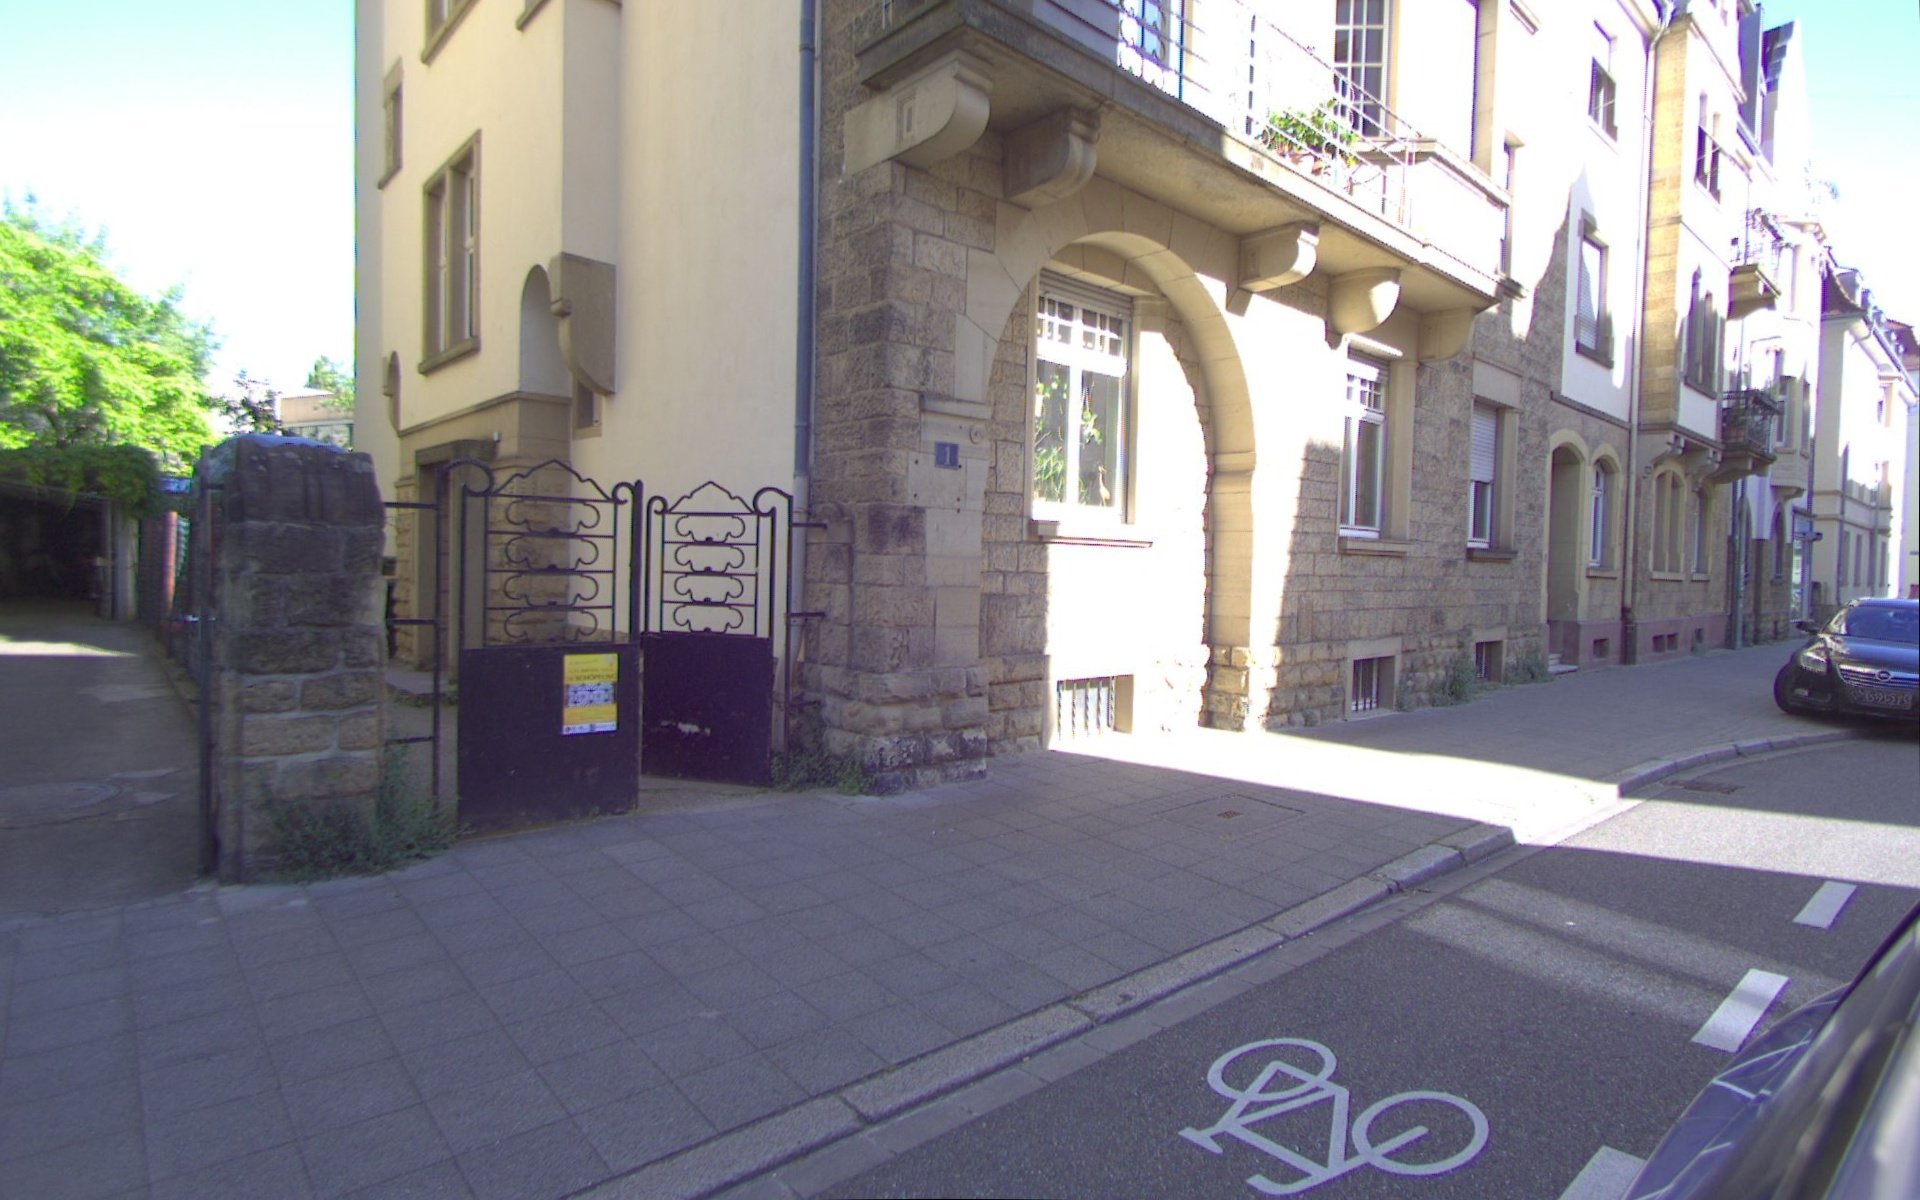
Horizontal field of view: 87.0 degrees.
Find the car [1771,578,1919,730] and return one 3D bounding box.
[{"bbox_3d":[11.508,0.571,12.191,4.043,1.526,2.023,-1,5,-42],"label":"car"}]

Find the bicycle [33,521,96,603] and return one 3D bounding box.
[{"bbox_3d":[-18.304,-0.813,20.726,0.903,1.530,2.672,0,4,-41],"label":"bicycle"}]

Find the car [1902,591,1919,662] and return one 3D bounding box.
[{"bbox_3d":[22.169,0.584,22.192,4.247,1.440,1.823,-1,4,-42],"label":"car"}]

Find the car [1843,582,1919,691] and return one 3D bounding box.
[{"bbox_3d":[15.529,0.567,15.867,4.247,1.527,2.004,0,3,-42],"label":"car"}]

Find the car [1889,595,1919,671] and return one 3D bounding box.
[{"bbox_3d":[18.792,0.621,18.971,3.667,1.295,1.659,-1,4,-42],"label":"car"}]

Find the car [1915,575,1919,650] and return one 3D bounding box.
[{"bbox_3d":[26.231,0.338,26.050,4.247,1.860,2.004,-1,4,-42],"label":"car"}]
